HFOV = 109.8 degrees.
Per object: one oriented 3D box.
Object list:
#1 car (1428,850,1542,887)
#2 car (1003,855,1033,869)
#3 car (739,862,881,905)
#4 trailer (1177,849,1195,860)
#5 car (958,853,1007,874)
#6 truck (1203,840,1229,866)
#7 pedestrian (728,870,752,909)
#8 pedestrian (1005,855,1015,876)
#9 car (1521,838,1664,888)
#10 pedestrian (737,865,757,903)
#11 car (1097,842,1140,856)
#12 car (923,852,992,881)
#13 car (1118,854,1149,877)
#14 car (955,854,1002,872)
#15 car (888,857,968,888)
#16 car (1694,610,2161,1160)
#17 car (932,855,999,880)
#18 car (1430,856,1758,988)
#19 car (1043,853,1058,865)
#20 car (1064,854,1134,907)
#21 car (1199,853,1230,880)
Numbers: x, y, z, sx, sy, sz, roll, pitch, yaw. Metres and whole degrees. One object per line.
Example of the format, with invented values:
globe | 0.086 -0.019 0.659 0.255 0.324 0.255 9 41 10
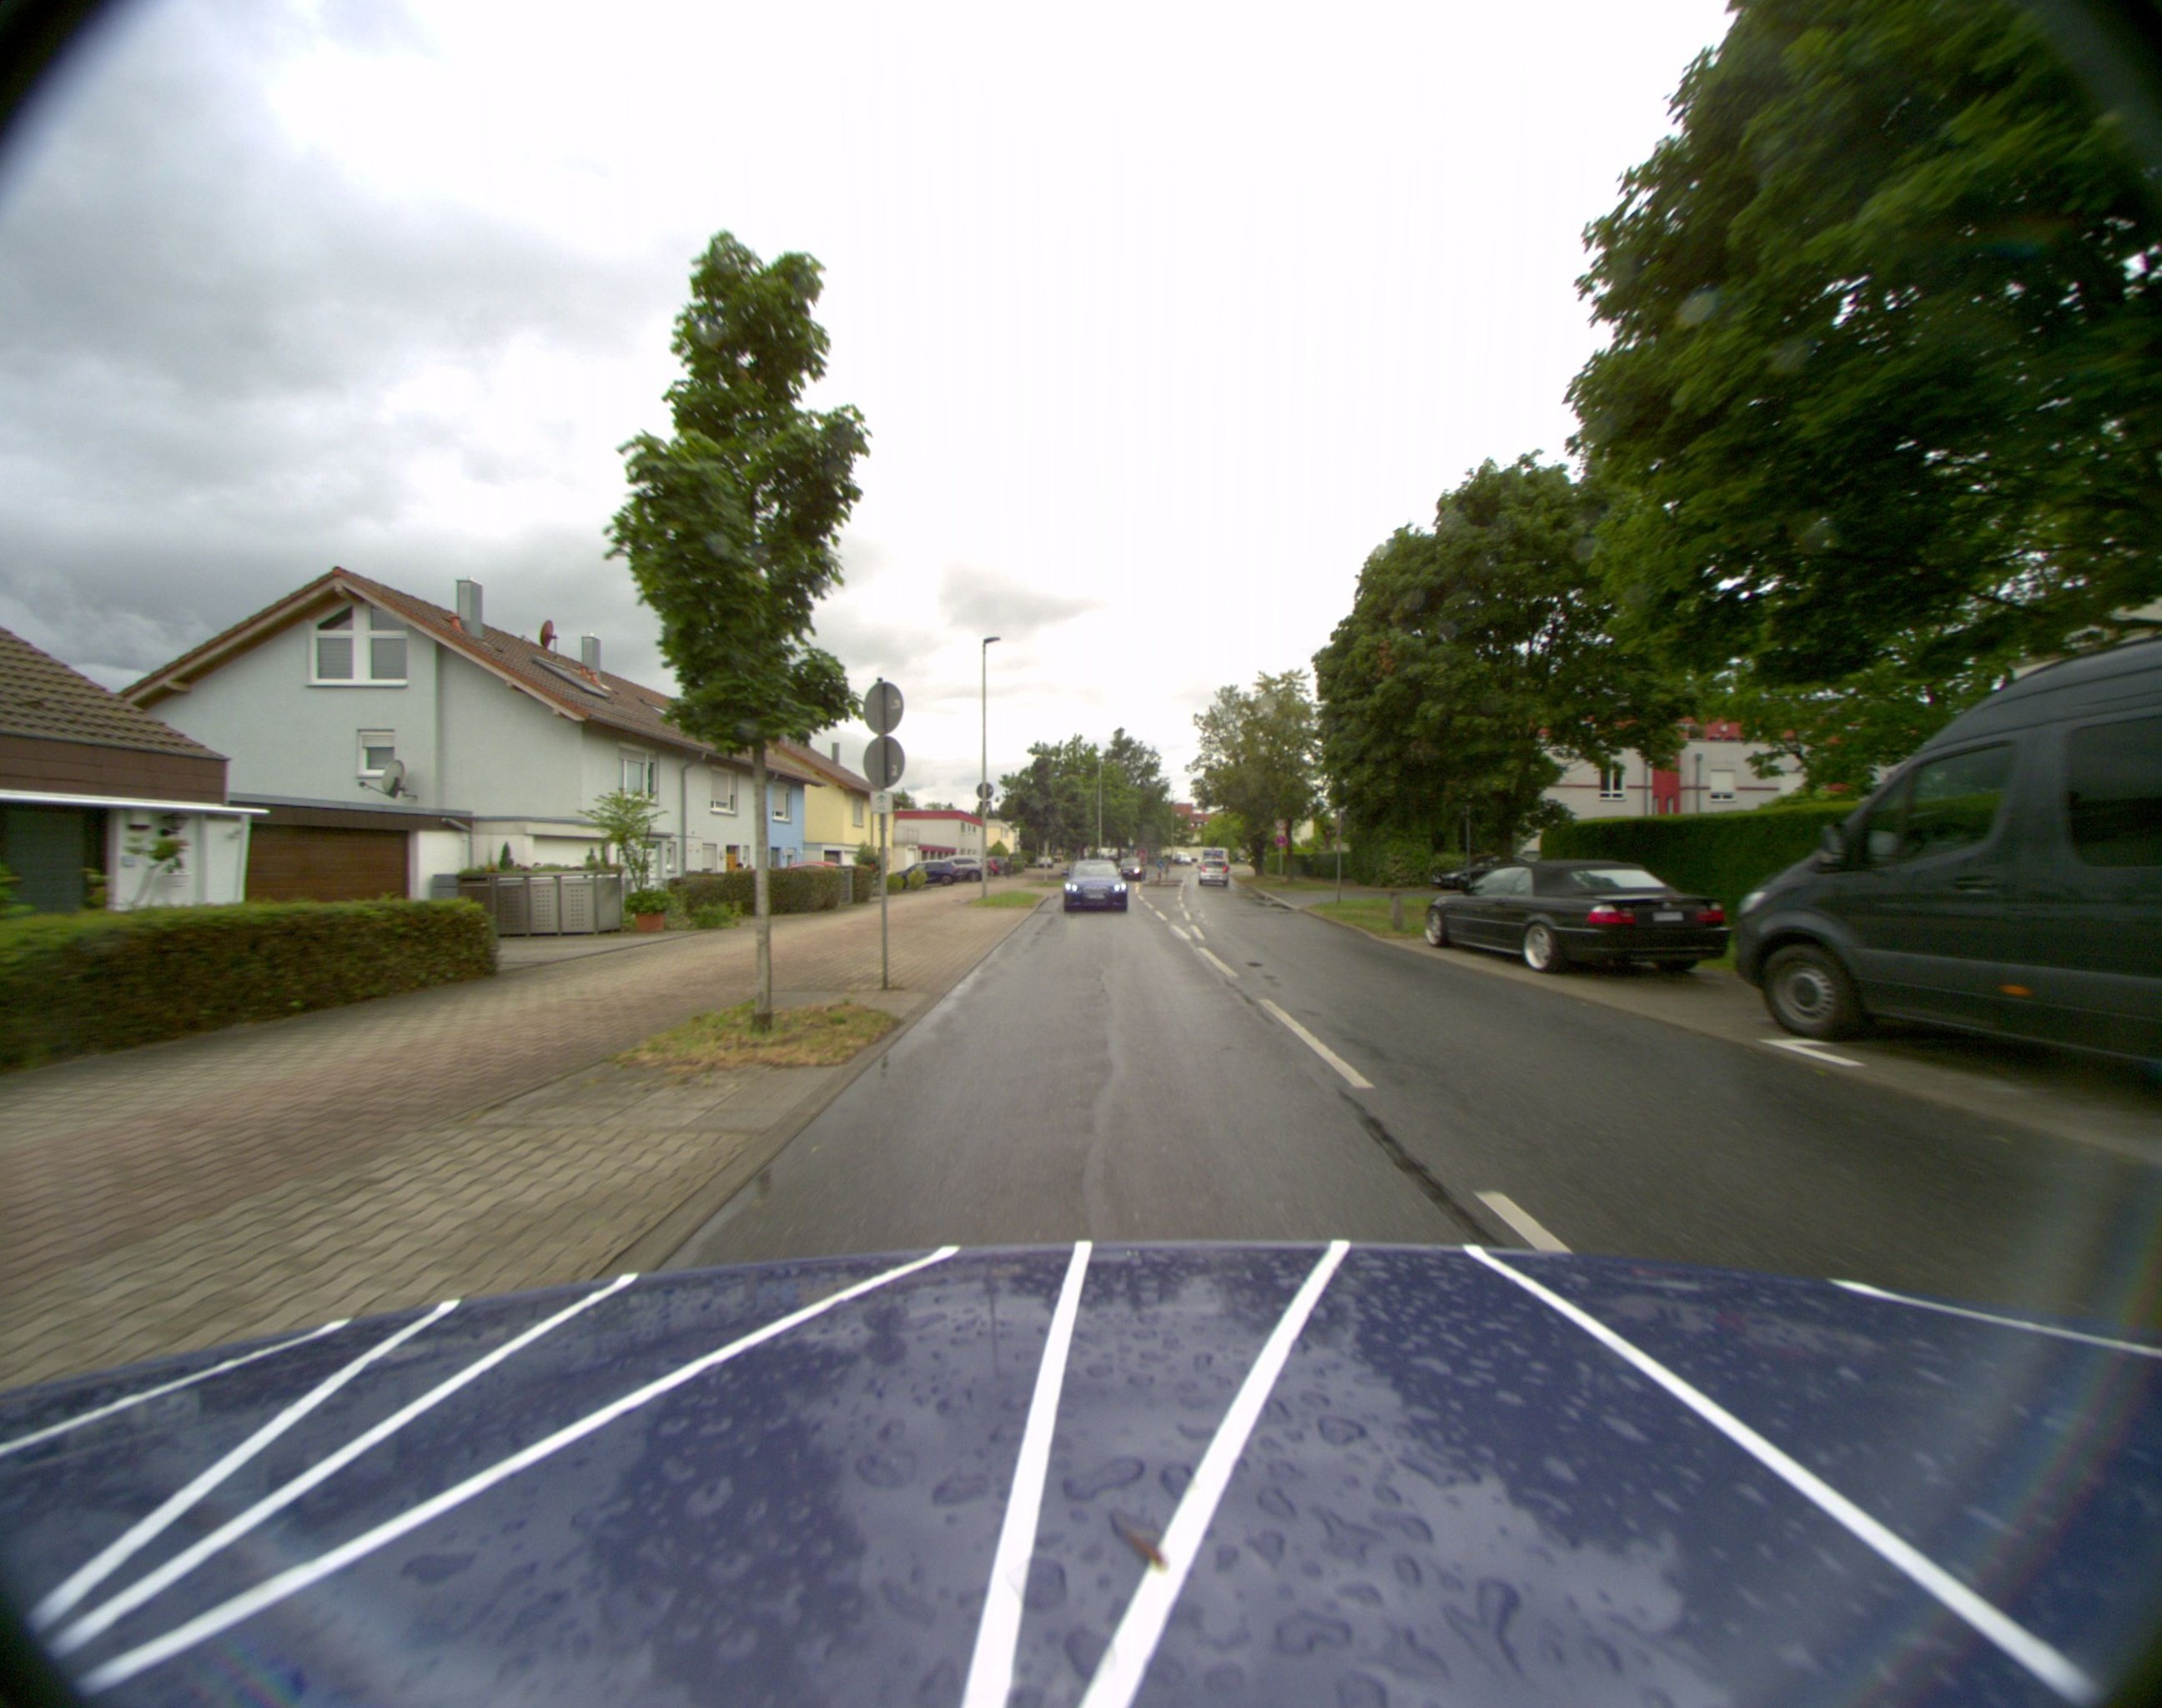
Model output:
car | 17.157 0.595 32.369 4.027 1.465 1.693 0 1 -3
car | -7.849 1.007 95.500 3.621 1.524 1.762 2 0 -2
car | -9.082 0.956 25.818 4.319 1.253 1.677 -2 0 -13
trailer | 14.496 0.061 105.067 1.998 1.534 4.426 0 1 1
car | -8.482 0.797 65.618 3.997 1.711 1.924 0 1 -1
truck | 12.087 -0.088 68.461 2.221 2.191 6.469 0 0 9
pedestrian | -12.136 1.255 27.054 0.496 1.343 0.565 0 1 23
pedestrian | -5.330 0.830 57.120 0.666 1.549 0.842 0 1 -4
car | 18.191 0.342 27.104 4.028 1.642 1.693 -1 -2 -7
pedestrian | -12.177 1.079 27.690 0.537 1.343 0.529 -1 1 -12
car | 5.352 -0.700 109.419 5.824 2.002 2.003 1 1 25
car | -7.858 0.789 48.609 4.192 1.662 1.720 -3 1 -6
car | 3.422 0.742 50.149 1.840 1.440 4.000 -1 0 2
car | -8.481 0.737 62.970 3.702 1.433 1.706 0 1 -1
car | -8.356 1.004 41.738 3.998 1.379 1.674 -4 -1 -4
car | 6.321 0.131 3.652 1.998 2.712 5.938 -2 0 1
car | -7.844 0.901 51.856 4.189 1.662 1.991 0 1 2
car | 6.317 0.724 9.972 1.727 1.400 3.825 0 0 0
car | -4.048 0.622 101.199 1.691 1.501 3.826 -1 0 2
car | 0.494 0.782 23.302 1.913 1.425 4.301 -2 -1 0
car | 7.588 0.677 43.475 1.597 1.455 3.455 0 0 7
